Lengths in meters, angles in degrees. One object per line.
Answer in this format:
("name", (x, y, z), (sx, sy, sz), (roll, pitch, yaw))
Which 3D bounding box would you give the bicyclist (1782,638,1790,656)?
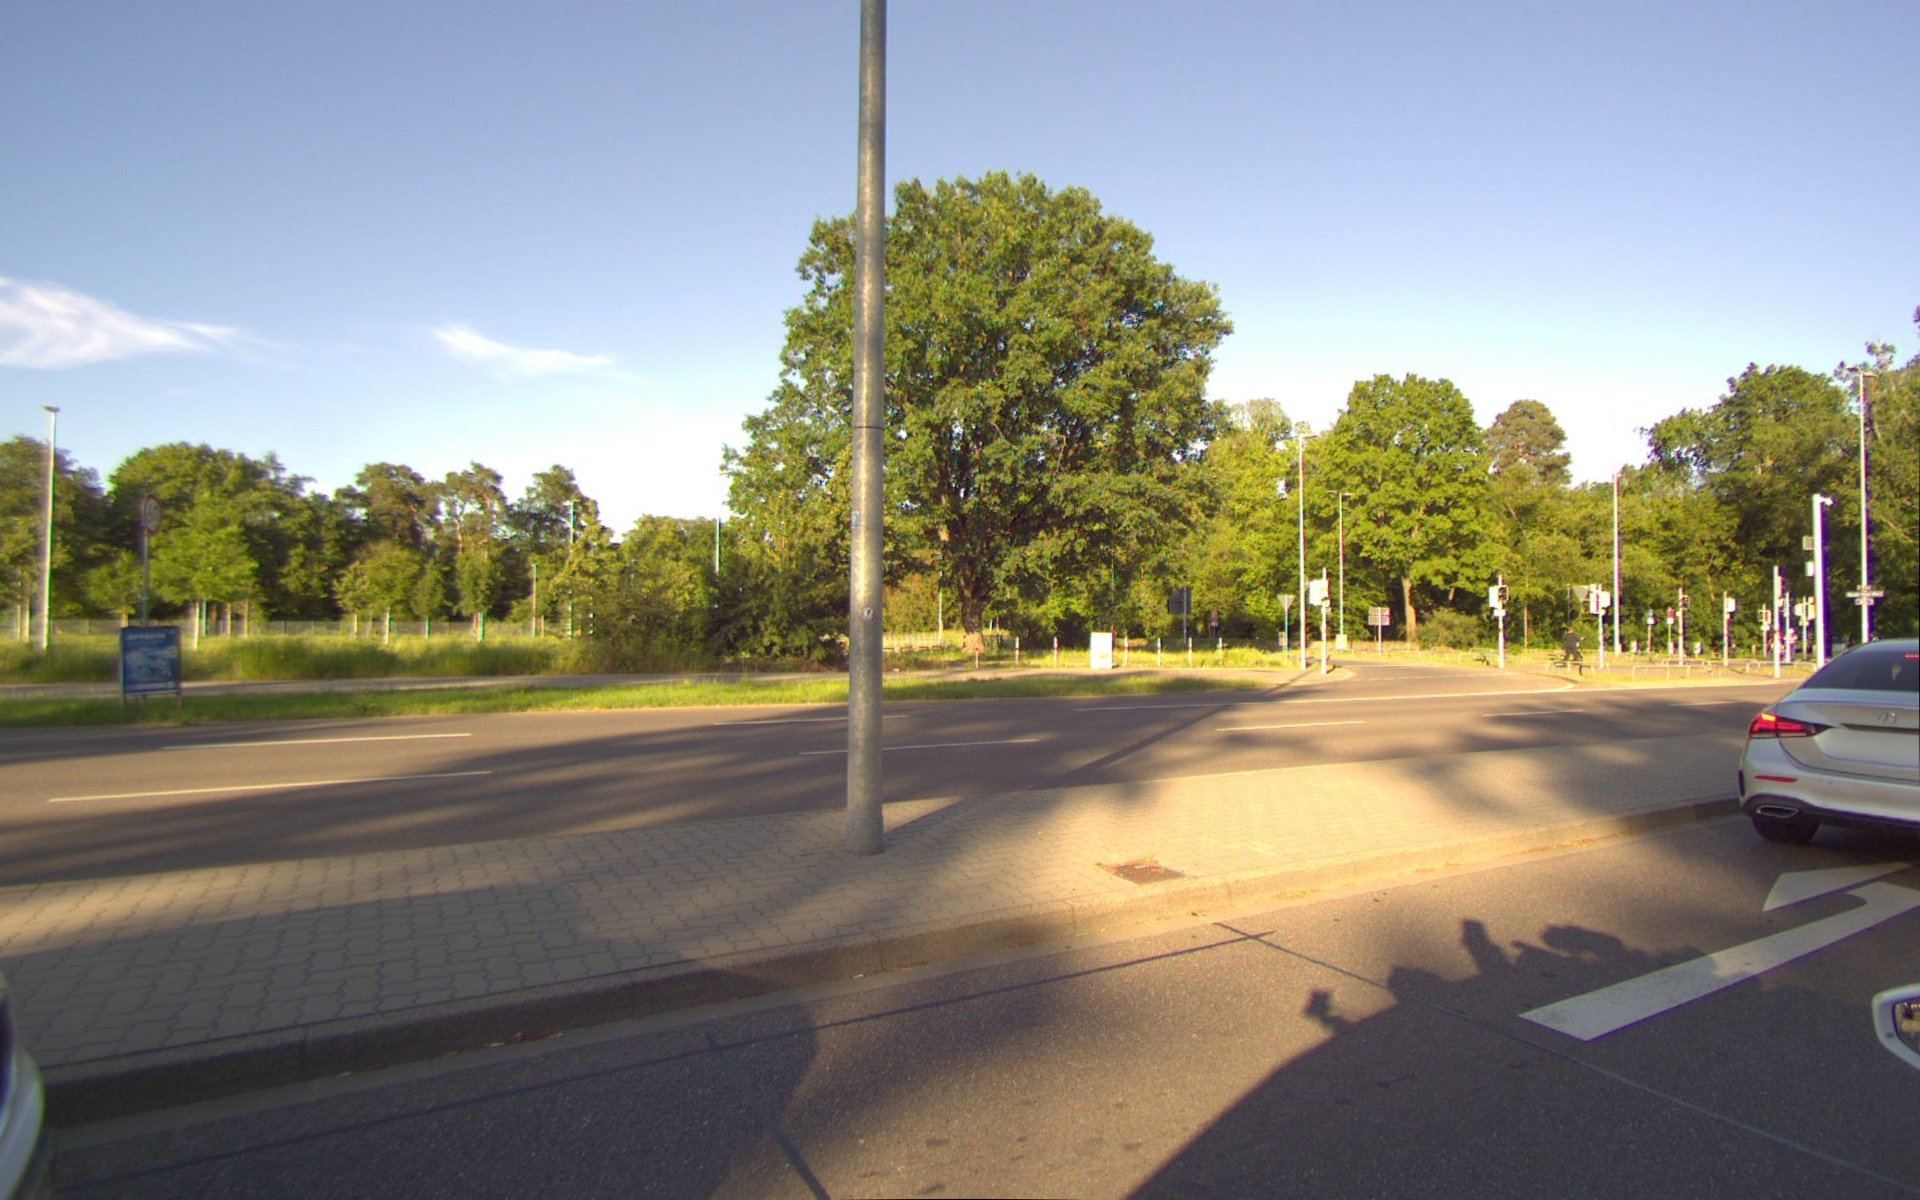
("bicyclist", (44.229, 2.511, 53.776), (0.238, 0.975, 0.271), (2, 0, -35))

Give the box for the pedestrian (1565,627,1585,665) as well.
("pedestrian", (26.232, 1.955, 42.844), (0.641, 1.583, 0.479), (2, 0, -30))

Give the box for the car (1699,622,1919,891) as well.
("car", (7.073, 0.905, 6.829), (4.227, 1.463, 1.776), (1, 0, -30))

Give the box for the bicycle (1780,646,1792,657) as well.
("bicycle", (44.255, 2.750, 53.804), (0.831, 0.589, 0.264), (2, 0, -36))

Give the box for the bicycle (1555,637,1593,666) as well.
("bicycle", (26.182, 2.206, 42.818), (1.980, 1.193, 0.466), (2, 0, -31))

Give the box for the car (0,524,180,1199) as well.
("car", (-3.264, 0.617, 0.442), (4.385, 1.601, 1.709), (3, -1, -32))
